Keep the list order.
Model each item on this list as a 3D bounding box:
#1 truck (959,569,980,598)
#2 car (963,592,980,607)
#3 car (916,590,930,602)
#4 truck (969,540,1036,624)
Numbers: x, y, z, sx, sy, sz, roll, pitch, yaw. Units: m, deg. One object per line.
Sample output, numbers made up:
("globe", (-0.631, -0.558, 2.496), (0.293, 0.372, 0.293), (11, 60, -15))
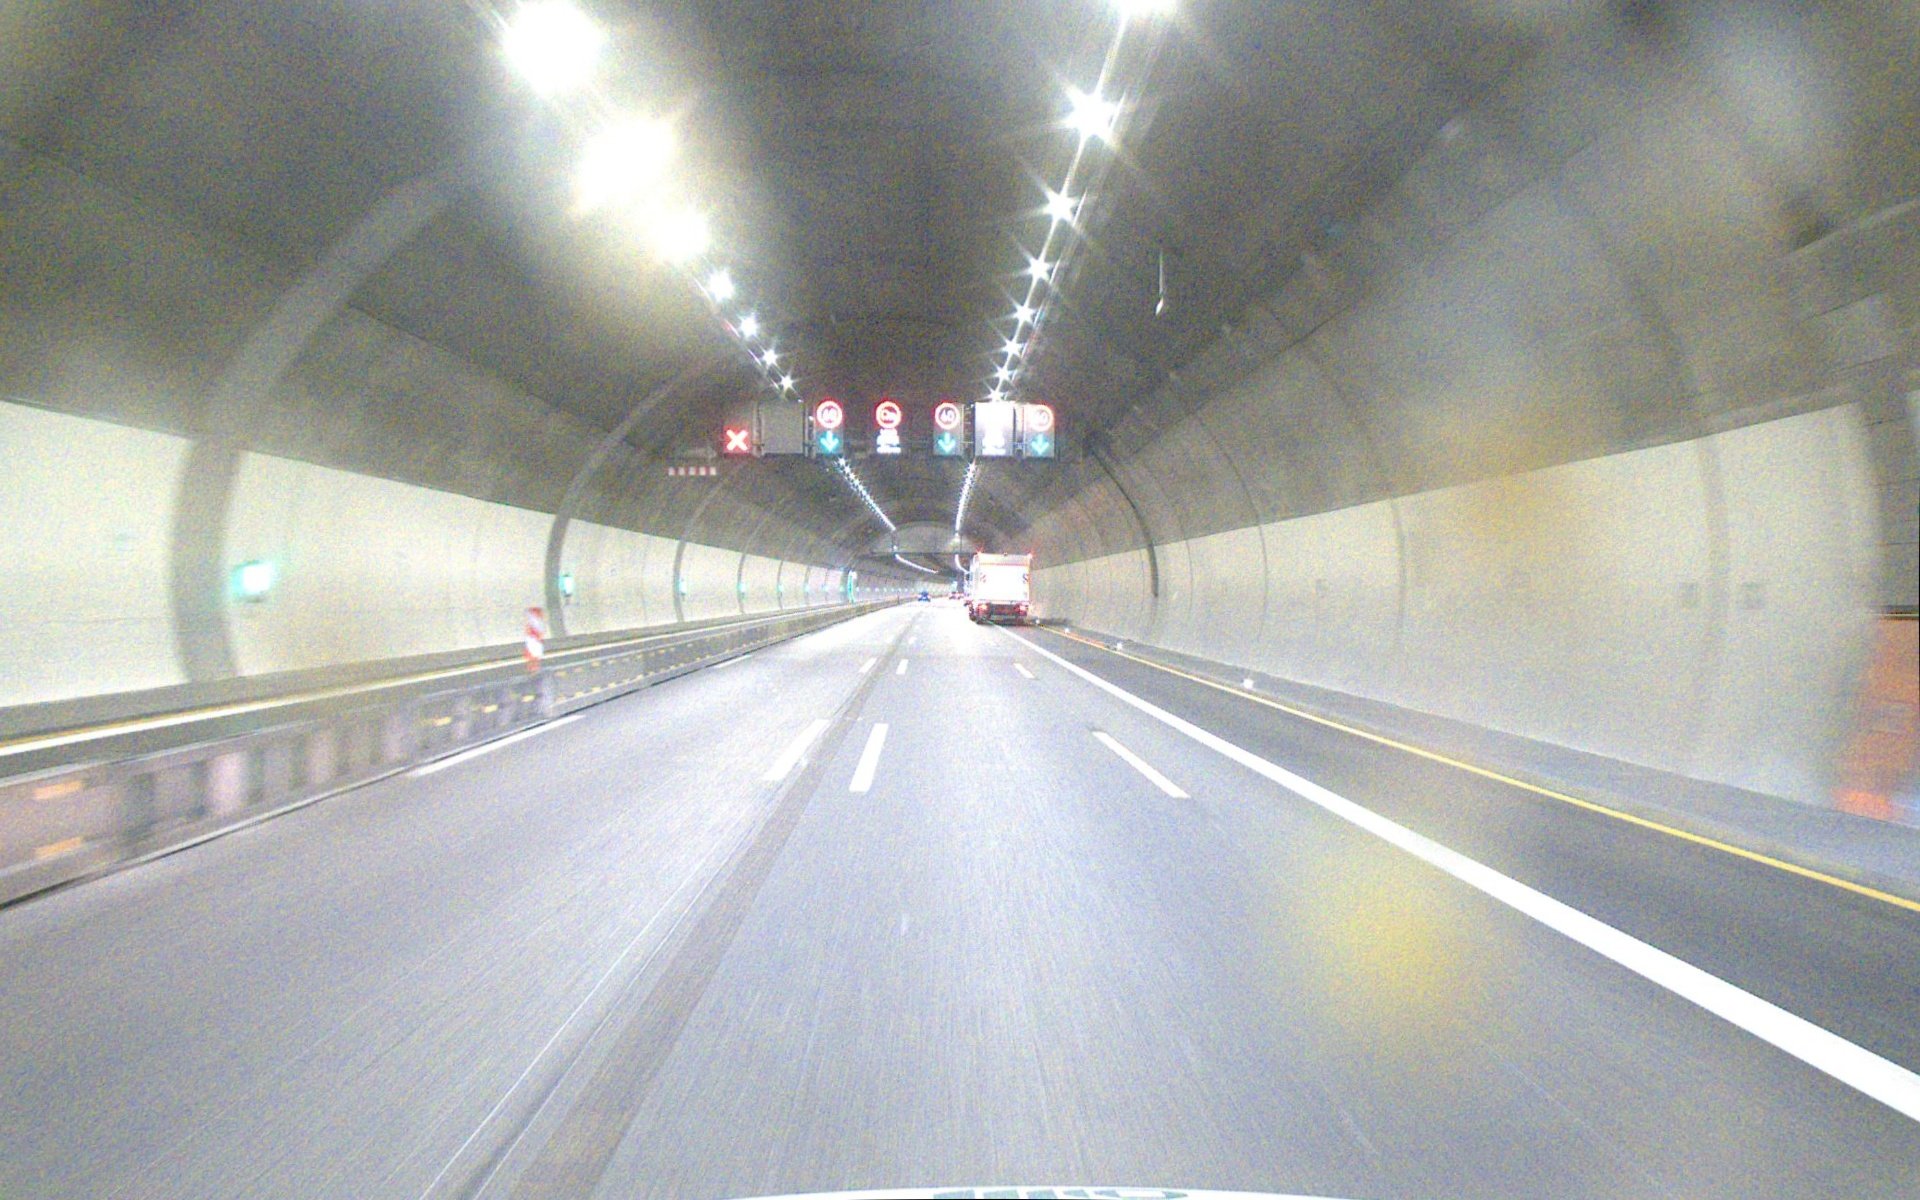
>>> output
("truck", (1.390, -2.390, 240.497), (3.003, 3.986, 10.368), (0, 0, 1))
("car", (1.214, -0.074, 173.752), (1.703, 1.486, 3.961), (-1, 1, 1))
("car", (-4.861, -0.496, 217.384), (1.723, 1.486, 4.118), (-1, 1, 0))
("truck", (2.055, -0.830, 84.279), (3.029, 3.986, 10.366), (0, 0, 0))
